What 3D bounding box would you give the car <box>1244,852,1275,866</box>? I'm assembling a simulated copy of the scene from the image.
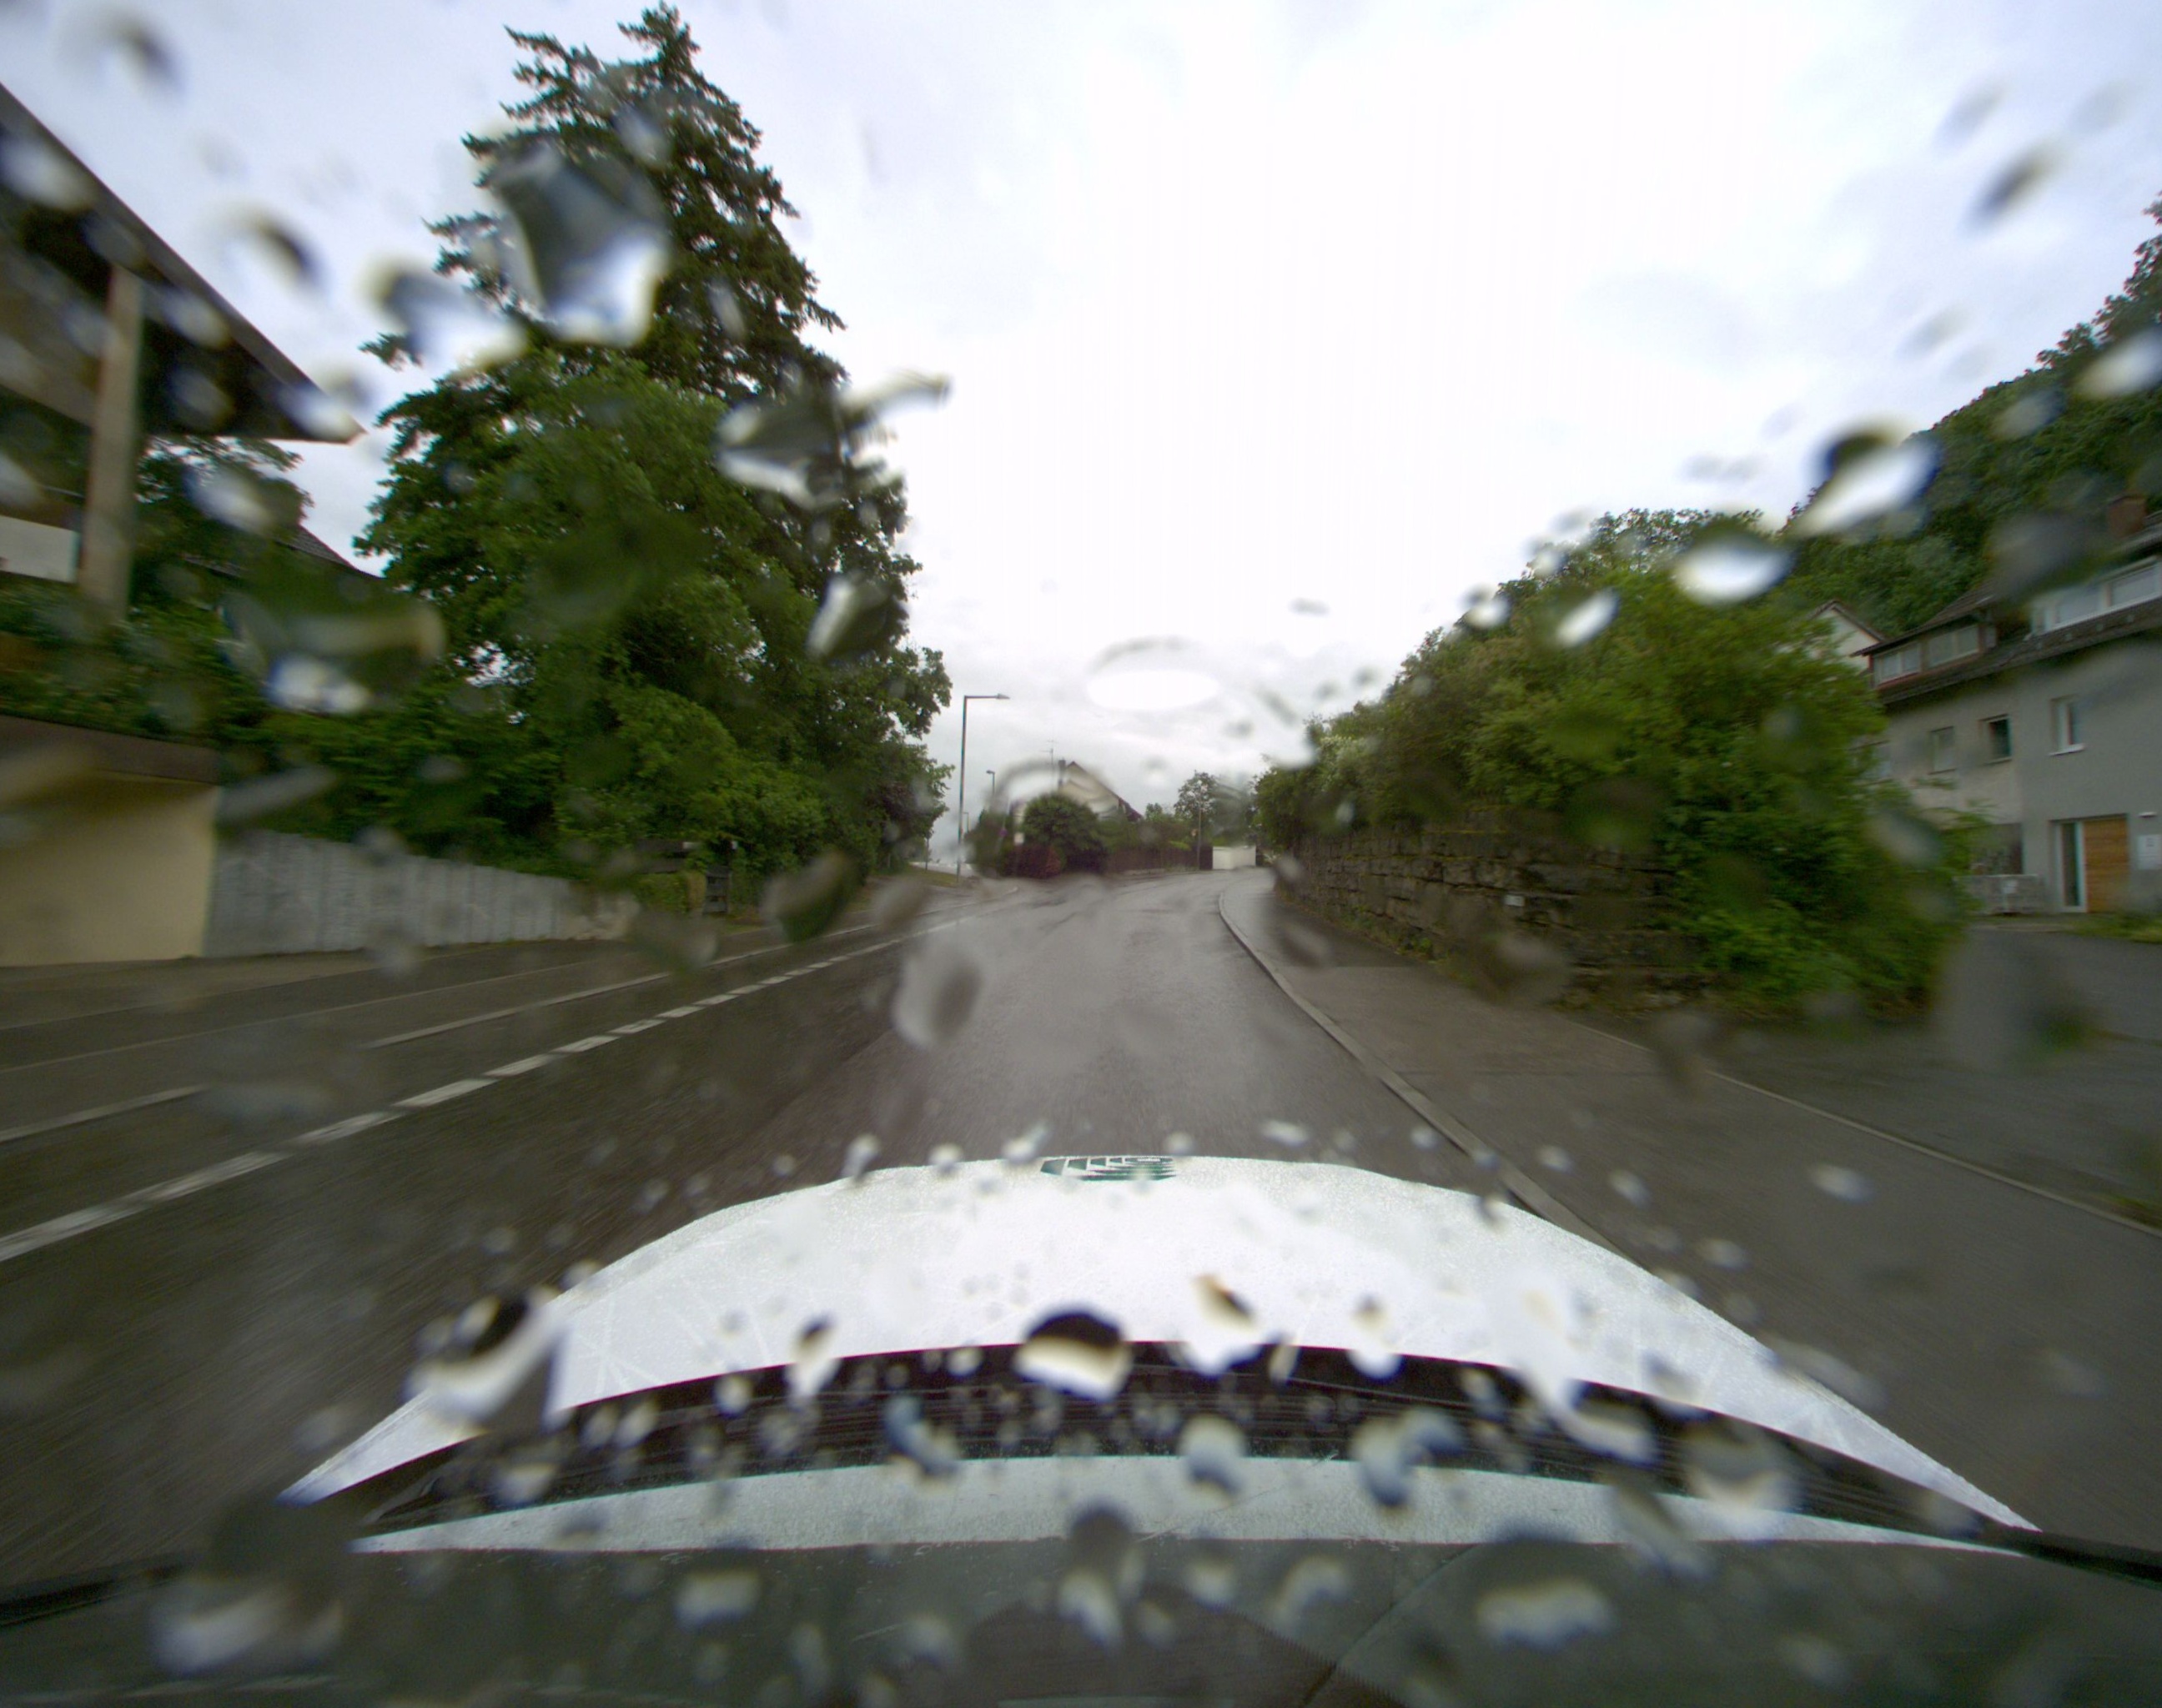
[{"bbox_3d":[24.707,0.702,112.816,3.796,1.907,1.546,1,0,32],"label":"car"}]
